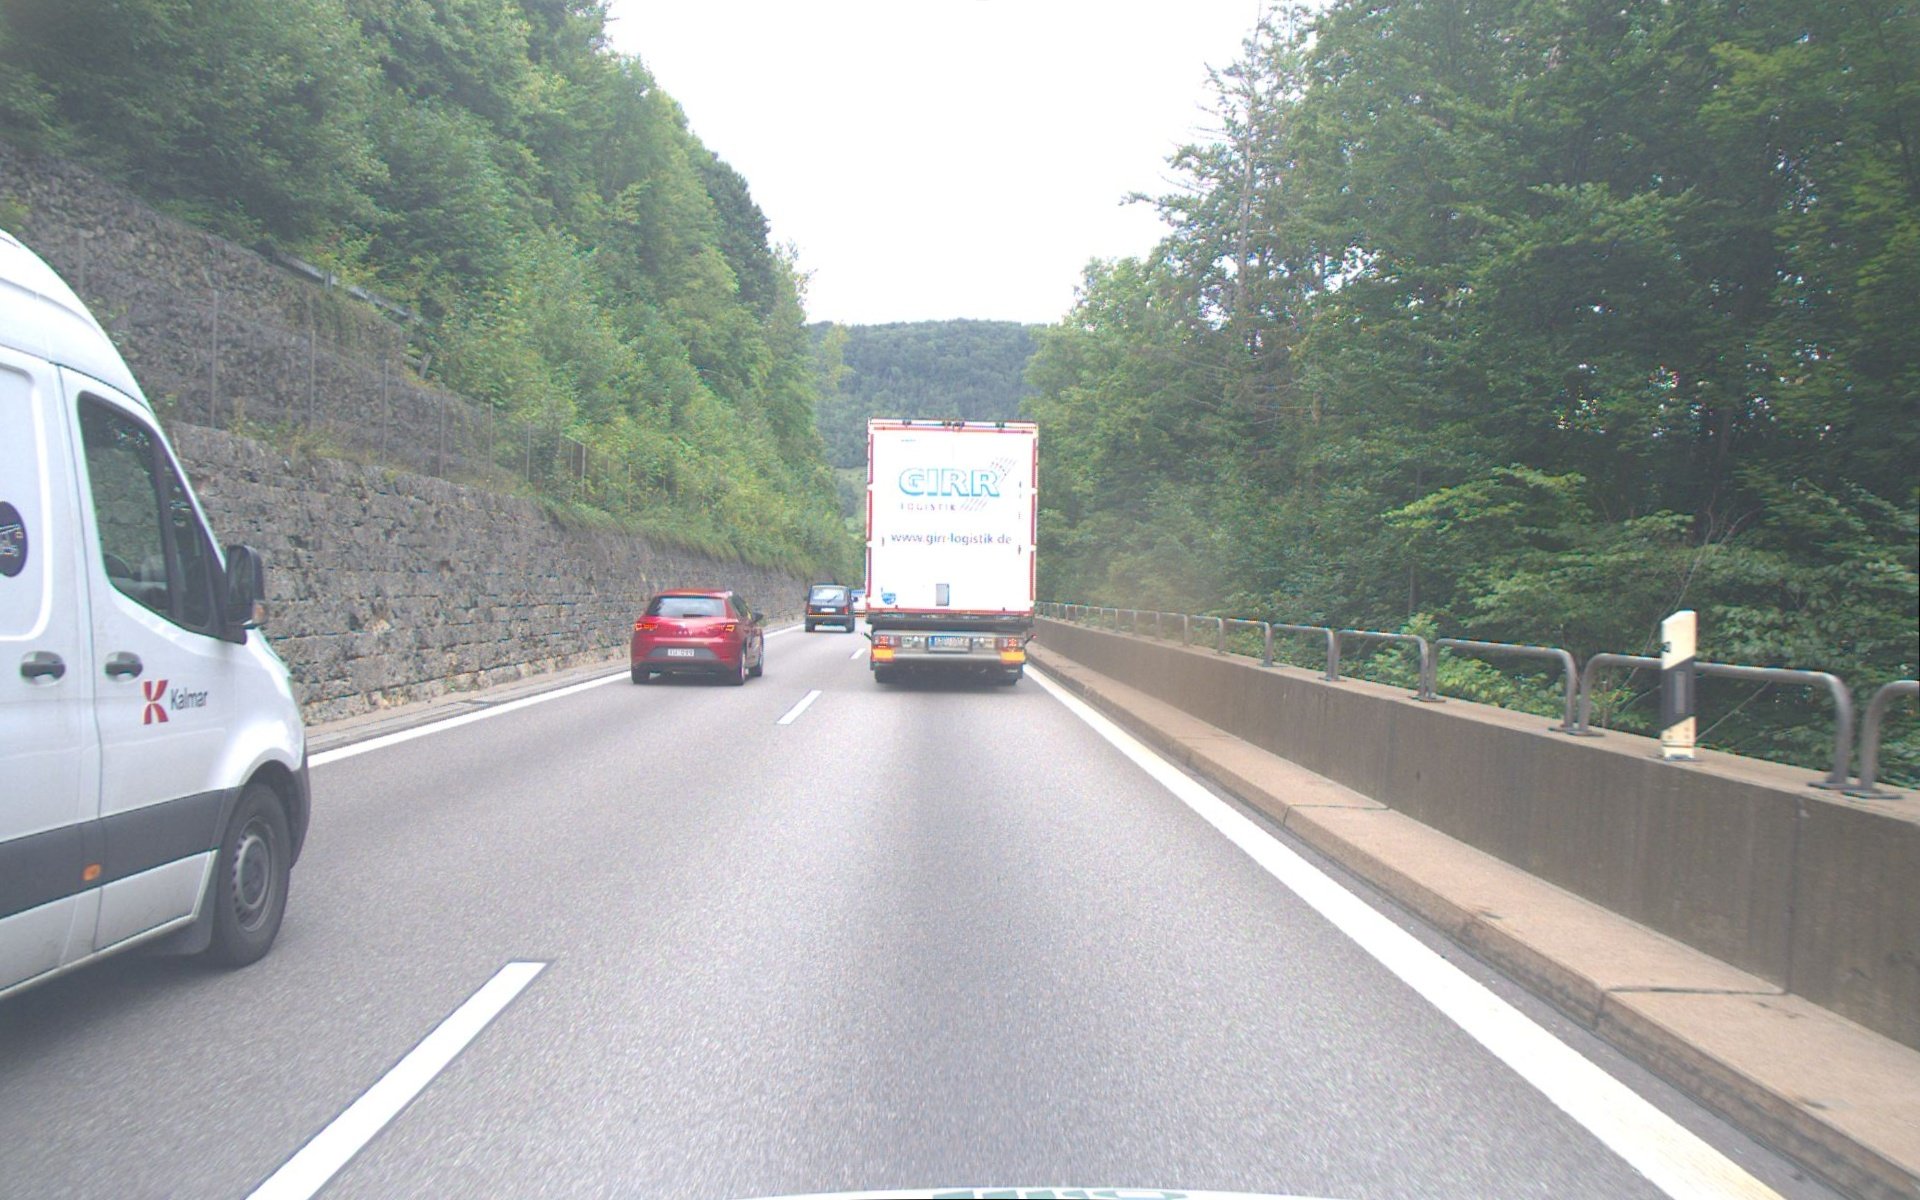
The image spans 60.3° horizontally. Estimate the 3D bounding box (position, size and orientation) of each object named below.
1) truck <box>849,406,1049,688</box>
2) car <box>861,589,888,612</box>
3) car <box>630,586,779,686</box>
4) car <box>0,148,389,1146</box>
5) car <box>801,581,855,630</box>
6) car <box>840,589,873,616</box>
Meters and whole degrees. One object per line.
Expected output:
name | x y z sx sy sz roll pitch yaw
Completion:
truck | -0.184 -0.754 28.318 2.849 4.030 9.278 0 0 0
car | -6.342 0.038 123.267 1.878 1.623 4.178 0 0 -1
car | -4.019 0.541 26.665 1.730 1.485 4.411 0 0 0
car | -3.529 0.124 4.472 1.985 2.630 6.272 0 0 -2
car | -4.637 0.210 58.618 1.635 1.667 4.067 0 0 -1
car | -5.821 0.149 93.720 1.694 1.512 3.999 0 0 -1
